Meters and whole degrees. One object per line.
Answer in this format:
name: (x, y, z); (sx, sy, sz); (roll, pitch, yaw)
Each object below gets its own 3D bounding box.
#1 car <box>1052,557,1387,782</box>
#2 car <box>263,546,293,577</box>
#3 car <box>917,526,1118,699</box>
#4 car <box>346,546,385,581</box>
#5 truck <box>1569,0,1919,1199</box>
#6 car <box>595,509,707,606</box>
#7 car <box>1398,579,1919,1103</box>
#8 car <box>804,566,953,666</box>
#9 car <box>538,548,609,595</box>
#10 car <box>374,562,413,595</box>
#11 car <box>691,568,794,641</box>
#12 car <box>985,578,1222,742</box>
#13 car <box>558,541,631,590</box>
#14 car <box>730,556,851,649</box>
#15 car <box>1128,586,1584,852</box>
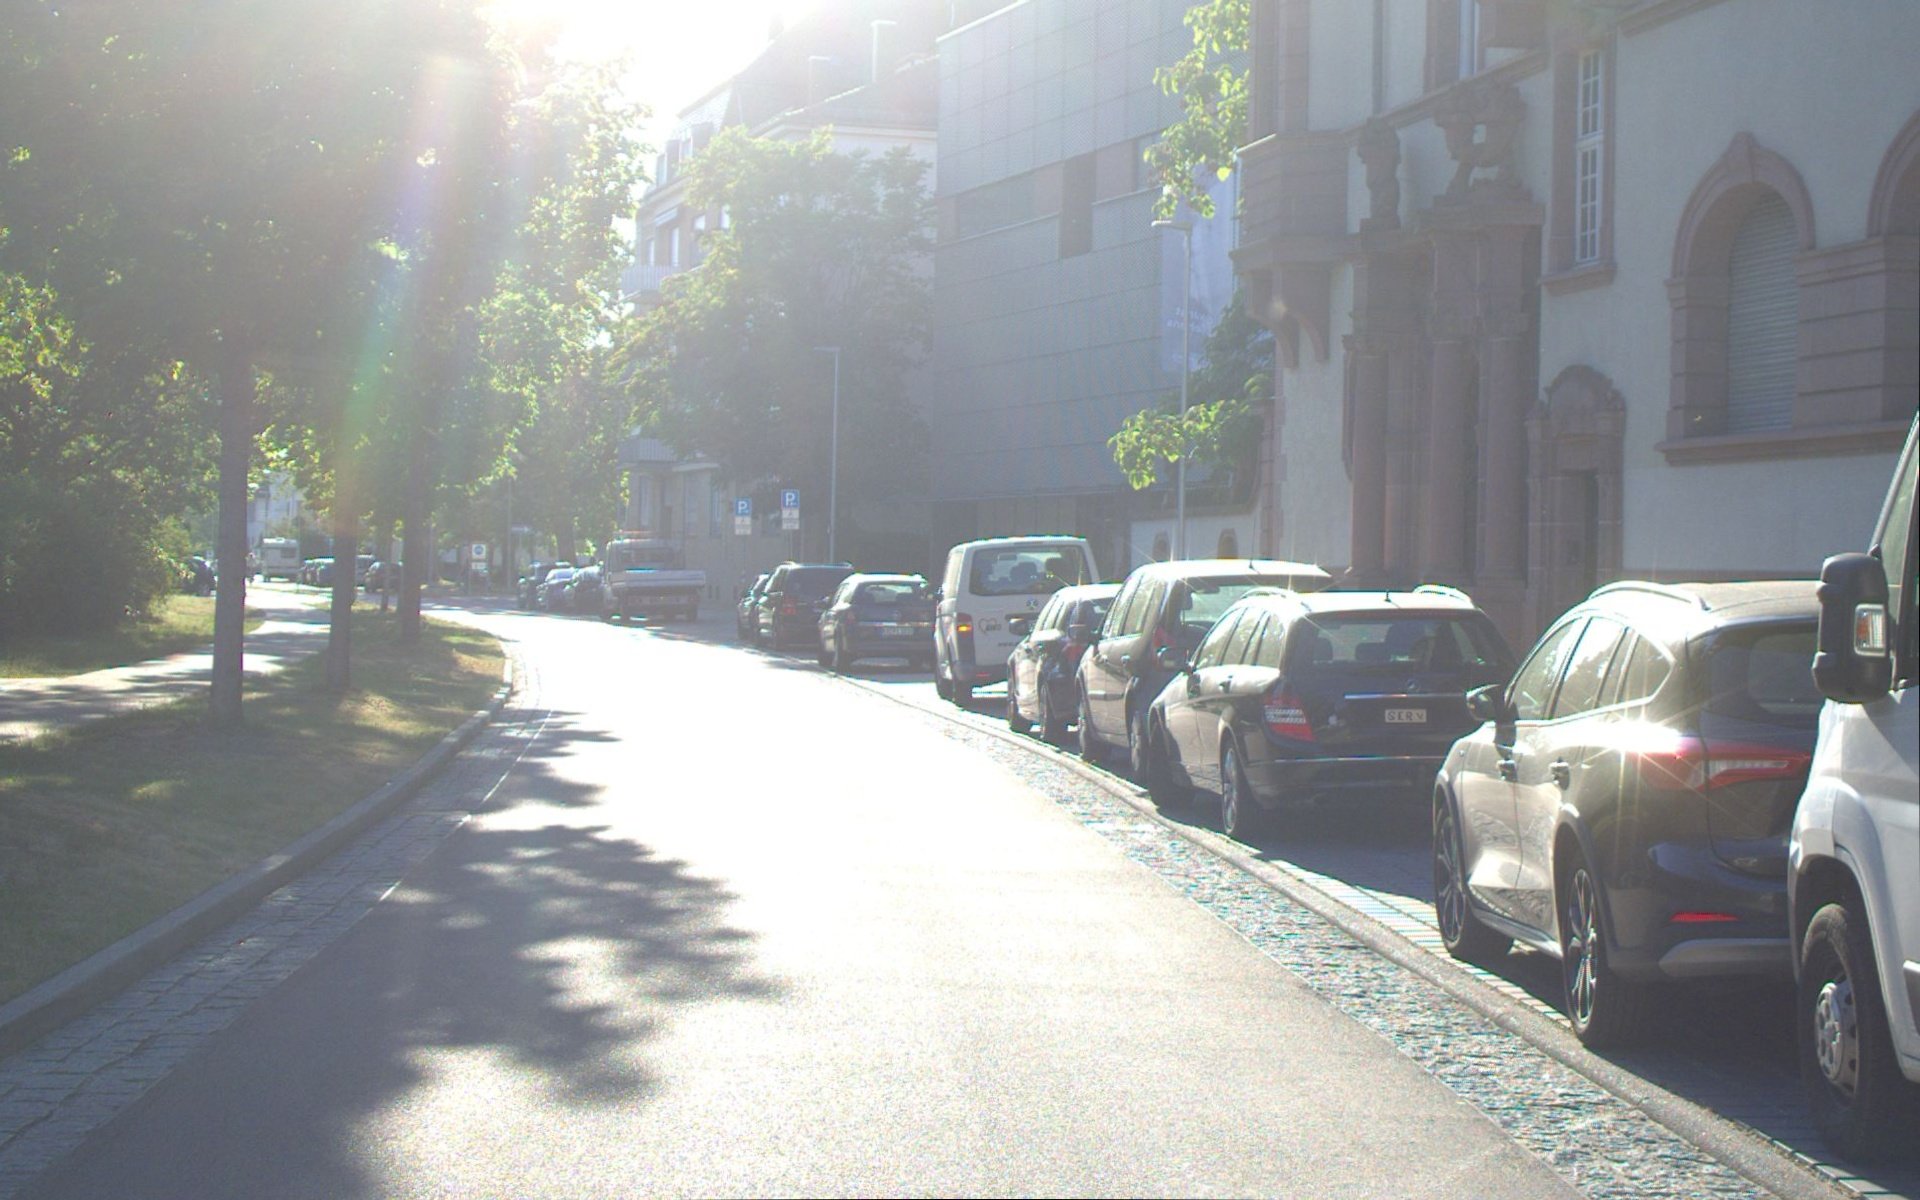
car: (1.909, 0.471, 26.574); (1.815, 1.597, 4.193); (0, 1, -7)
car: (-45.708, -2.603, 230.395); (1.793, 1.992, 4.001); (2, 0, -13)
car: (0.639, 0.127, 42.476); (1.993, 1.959, 4.850); (-2, 1, -4)
car: (-31.058, -1.923, 179.534); (1.793, 1.718, 4.001); (2, 0, -13)
truck: (3.217, -0.095, 6.739); (2.623, 3.110, 6.088); (0, 1, -3)
car: (-8.417, -1.170, 93.202); (2.210, 2.521, 6.149); (-1, 1, -13)
car: (2.807, 0.697, 12.439); (1.768, 1.525, 4.572); (0, 0, -1)
car: (-1.338, 0.226, 54.440); (1.747, 1.461, 4.479); (1, 1, -9)
car: (-12.243, -0.913, 108.771); (1.690, 1.435, 4.105); (1, 1, -14)
car: (-27.410, -1.041, 166.335); (1.793, 1.505, 4.001); (2, 0, -10)
car: (-4.467, 0.070, 70.065); (1.724, 1.417, 3.907); (0, 1, -9)
car: (1.268, 0.509, 32.055); (1.678, 1.398, 4.200); (0, 1, -5)
car: (-11.083, -1.062, 104.144); (1.690, 1.435, 3.552); (1, 1, -14)
car: (-3.210, 0.027, 64.551); (1.724, 1.663, 4.115); (0, 1, -11)
car: (2.306, 0.647, 21.251); (1.871, 1.431, 4.523); (0, 1, -6)
